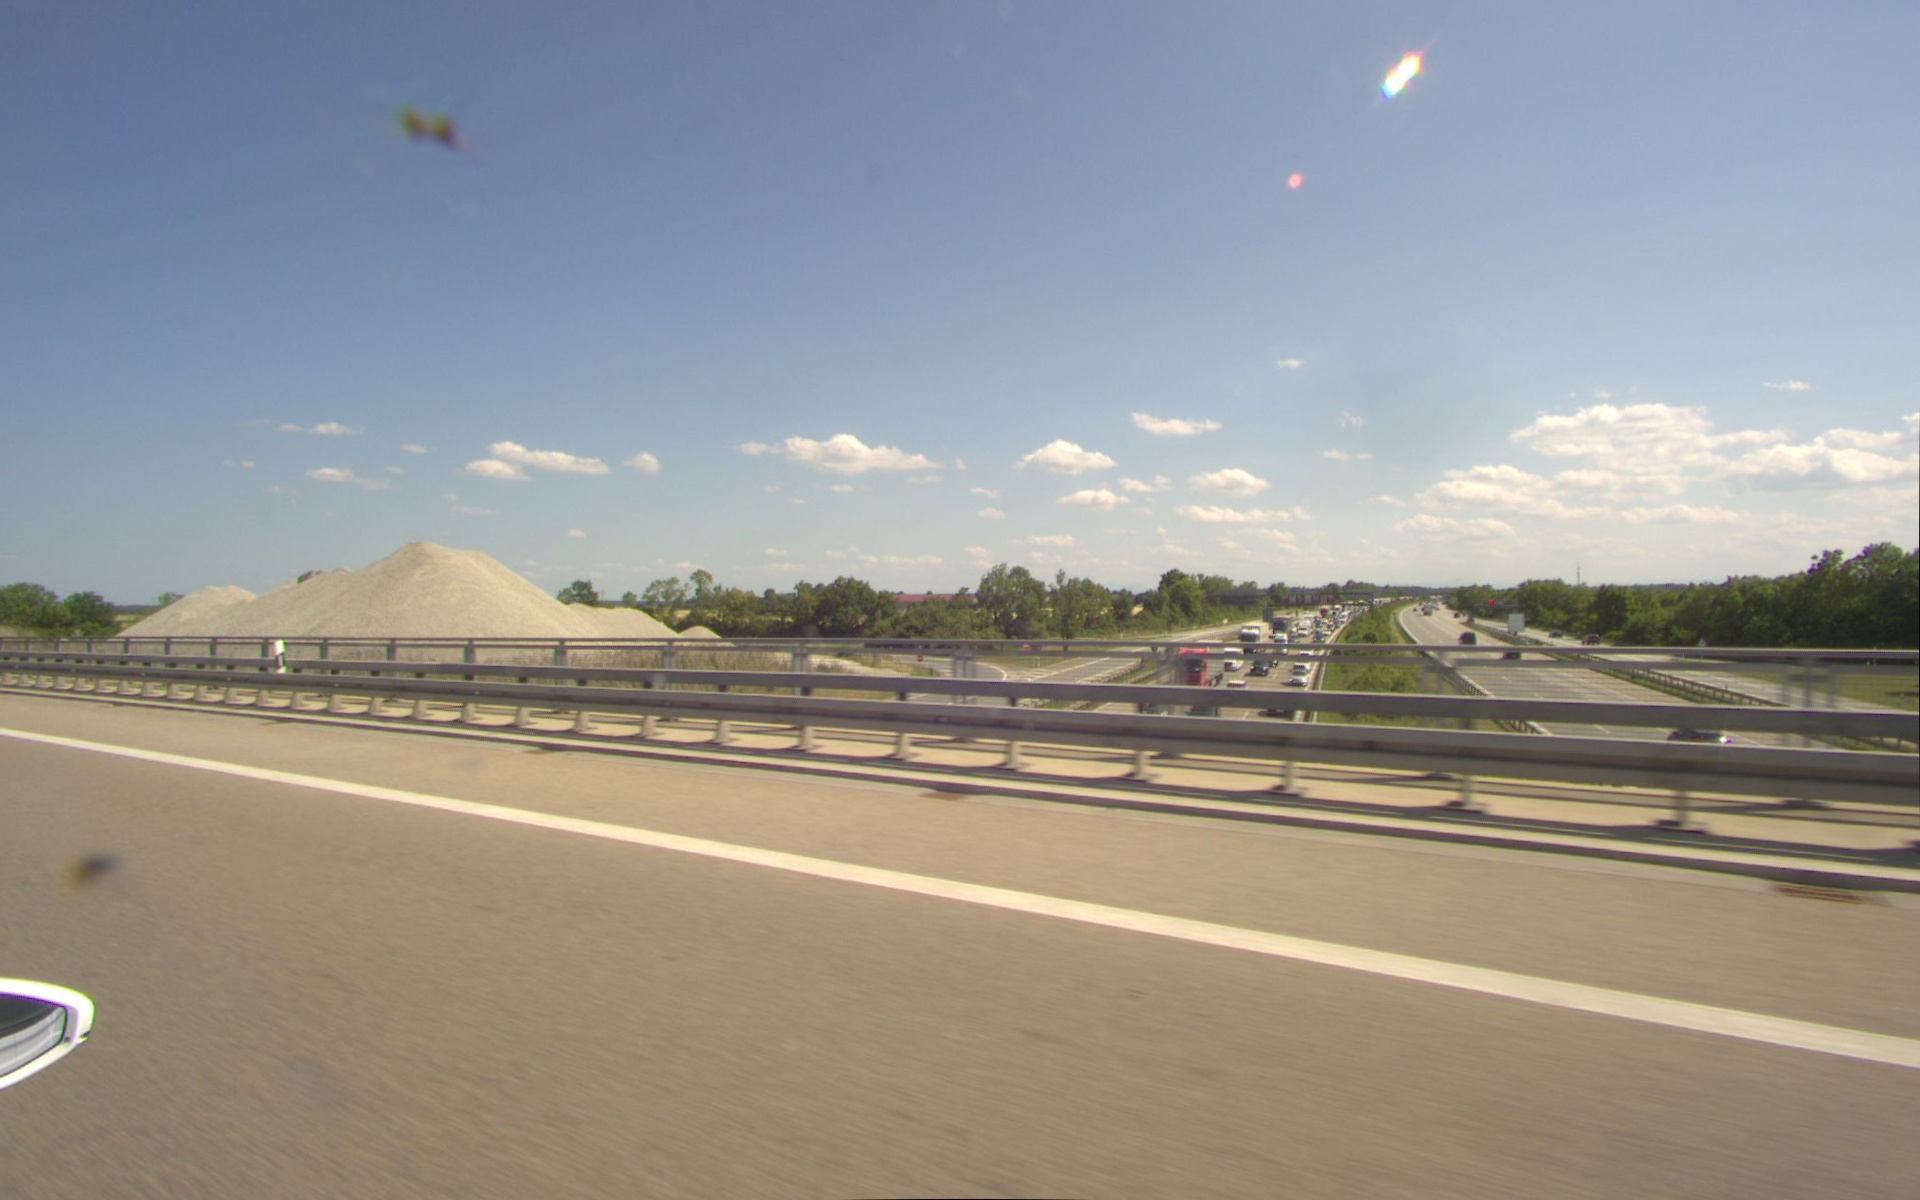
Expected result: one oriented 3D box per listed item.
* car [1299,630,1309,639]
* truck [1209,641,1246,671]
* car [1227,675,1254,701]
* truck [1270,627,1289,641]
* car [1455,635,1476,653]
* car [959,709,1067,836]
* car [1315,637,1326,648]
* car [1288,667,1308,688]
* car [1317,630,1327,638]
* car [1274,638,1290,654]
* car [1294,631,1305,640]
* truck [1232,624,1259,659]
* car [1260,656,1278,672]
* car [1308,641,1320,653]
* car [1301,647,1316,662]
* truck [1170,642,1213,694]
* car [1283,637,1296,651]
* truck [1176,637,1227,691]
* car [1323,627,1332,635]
[{"bbox_3d":[70.558,7.026,205.320,1.965,1.631,4.687,0,-1,20],"label":"car"},{"bbox_3d":[31.282,6.445,116.705,3.097,3.099,10.025,0,-1,22],"label":"truck"},{"bbox_3d":[23.058,7.178,82.187,1.829,1.757,4.338,0,-1,20],"label":"car"},{"bbox_3d":[61.263,6.507,191.992,3.096,2.564,6.649,0,-1,20],"label":"truck"},{"bbox_3d":[75.572,6.583,149.774,2.101,2.479,5.041,0,-1,19],"label":"car"},{"bbox_3d":[2.084,6.270,37.471,2.441,4.014,5.148,0,-2,23],"label":"car"},{"bbox_3d":[63.682,7.501,176.975,1.829,1.757,4.338,0,-1,20],"label":"car"},{"bbox_3d":[32.966,7.549,97.587,1.829,1.757,4.338,0,-1,20],"label":"car"},{"bbox_3d":[73.842,6.950,204.362,1.965,1.631,4.687,0,-1,20],"label":"car"},{"bbox_3d":[46.352,6.598,144.113,1.965,2.040,4.687,0,-1,20],"label":"car"},{"bbox_3d":[67.768,7.010,199.734,1.965,1.631,4.687,0,-1,20],"label":"car"},{"bbox_3d":[41.059,5.834,143.757,3.096,4.837,8.227,0,-1,20],"label":"truck"},{"bbox_3d":[37.381,7.722,121.136,1.829,1.757,4.338,0,-1,20],"label":"car"},{"bbox_3d":[55.437,7.369,156.719,1.829,1.757,4.338,0,-1,20],"label":"car"},{"bbox_3d":[46.209,7.185,132.671,1.829,1.757,4.338,0,-1,20],"label":"car"},{"bbox_3d":[20.295,5.849,87.486,2.821,4.119,5.941,0,1,22],"label":"truck"},{"bbox_3d":[52.509,6.992,159.587,1.965,2.040,4.687,0,-1,20],"label":"car"},{"bbox_3d":[22.636,5.785,93.335,2.821,4.119,12.543,0,1,22],"label":"truck"},{"bbox_3d":[83.022,6.999,226.302,1.965,1.631,4.687,0,-1,20],"label":"car"}]
